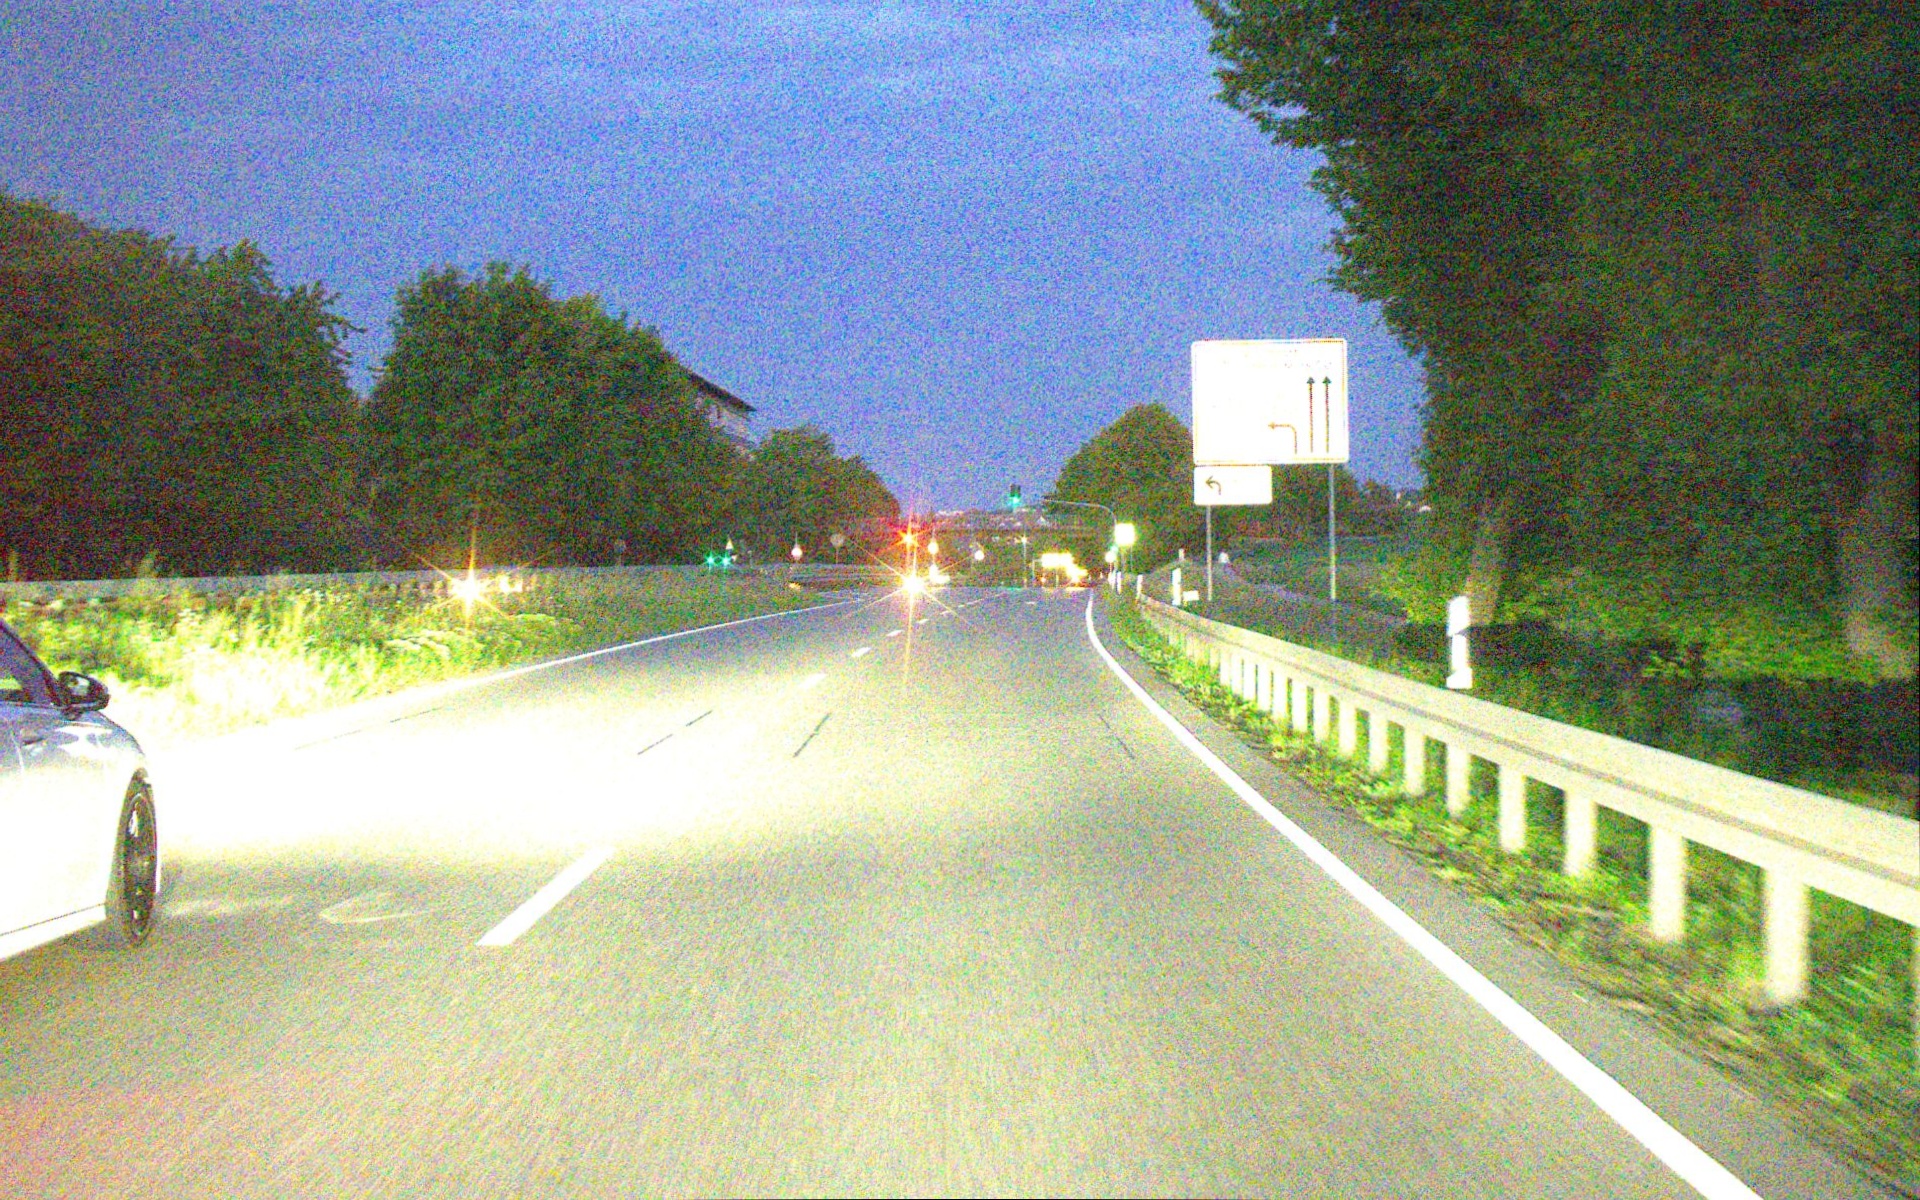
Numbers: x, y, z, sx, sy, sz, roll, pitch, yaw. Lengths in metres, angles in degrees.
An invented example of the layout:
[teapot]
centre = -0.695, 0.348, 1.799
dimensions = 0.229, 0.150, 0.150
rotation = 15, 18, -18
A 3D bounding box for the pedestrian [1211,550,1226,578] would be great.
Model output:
[pedestrian]
centre = 16.142, -2.253, 214.768
dimensions = 0.922, 1.787, 1.106
rotation = 1, 1, 2

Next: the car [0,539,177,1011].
[car]
centre = -3.859, 0.538, 11.306
dimensions = 1.642, 1.485, 4.580
rotation = 1, 1, -2
